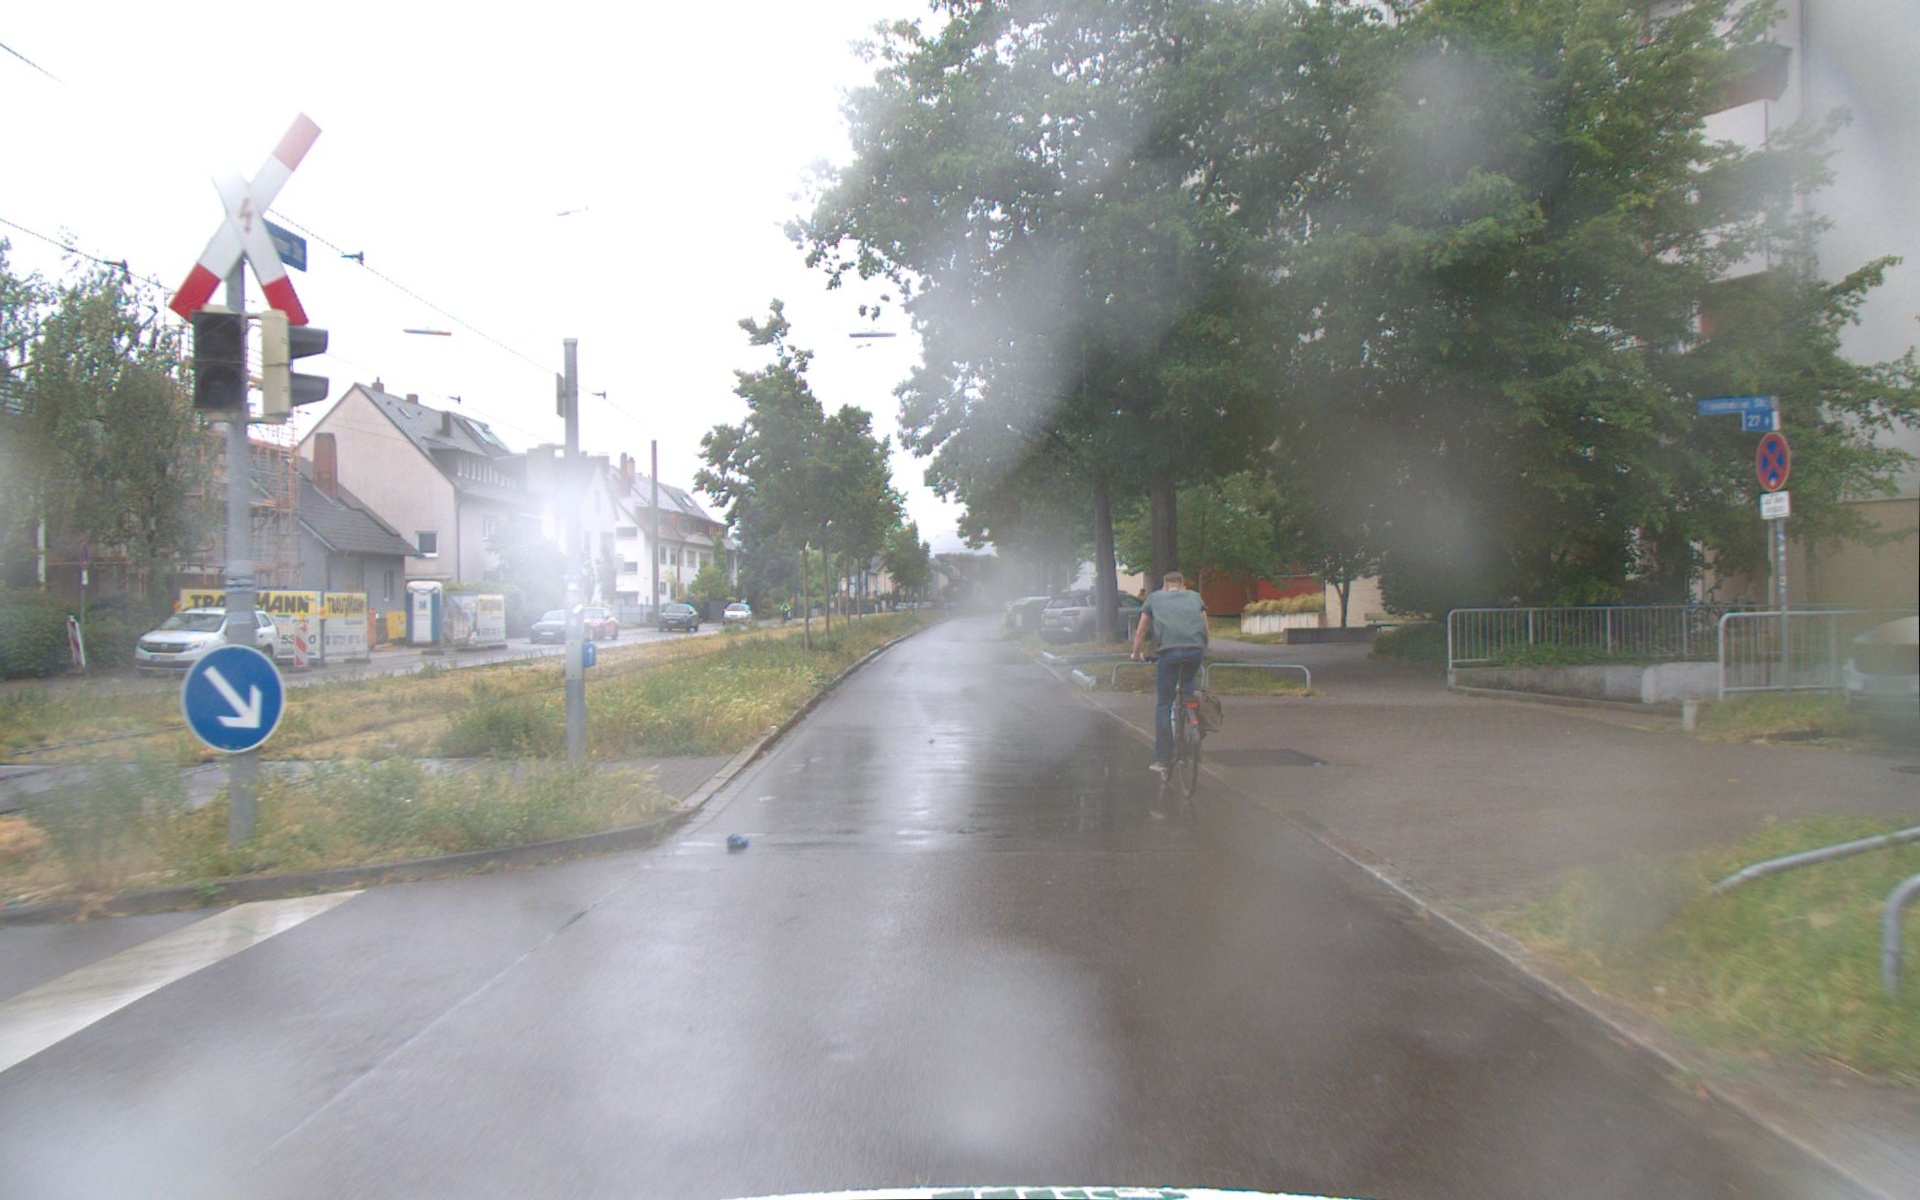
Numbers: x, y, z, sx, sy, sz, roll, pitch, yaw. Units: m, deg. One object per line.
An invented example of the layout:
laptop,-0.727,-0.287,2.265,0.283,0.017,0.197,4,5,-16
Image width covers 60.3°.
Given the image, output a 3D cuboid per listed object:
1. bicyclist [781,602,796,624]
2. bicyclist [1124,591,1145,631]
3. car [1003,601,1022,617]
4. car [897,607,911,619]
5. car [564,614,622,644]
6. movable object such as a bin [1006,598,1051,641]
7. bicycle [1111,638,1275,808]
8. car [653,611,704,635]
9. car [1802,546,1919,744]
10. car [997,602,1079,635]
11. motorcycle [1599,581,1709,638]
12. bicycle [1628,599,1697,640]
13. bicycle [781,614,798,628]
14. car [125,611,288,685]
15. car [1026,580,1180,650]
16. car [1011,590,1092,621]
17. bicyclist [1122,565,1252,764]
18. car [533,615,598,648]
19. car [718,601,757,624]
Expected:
bicyclist,-13.619,1.042,131.321,0.997,1.715,1.092,-1,0,0
bicyclist,7.284,0.463,69.074,0.720,1.622,0.944,-1,0,0
car,5.330,0.888,169.403,1.795,1.614,4.000,-1,0,0
car,-7.919,1.855,235.202,1.805,1.701,4.000,-1,0,0
car,-16.239,1.265,73.333,1.640,1.266,3.855,1,0,1
movable object such as a bin,2.548,0.718,62.049,1.110,1.482,1.392,-7,2,-21
bicycle,1.749,0.890,12.839,0.793,1.116,2.516,-2,0,-2
car,-15.974,1.296,94.057,1.857,1.266,4.689,1,0,3
car,10.767,0.373,15.859,4.725,1.776,1.991,-1,0,-16
car,3.700,0.849,77.903,4.010,1.468,1.560,-1,0,-44
motorcycle,16.592,0.241,39.595,0.876,1.311,2.272,-1,0,-37
bicycle,16.222,0.455,38.194,0.404,0.941,1.446,-1,0,-37
bicycle,-13.613,1.667,131.988,0.997,1.046,3.196,-1,0,0
car,-17.512,1.078,38.667,1.675,1.569,4.422,1,0,1
car,4.193,0.433,48.480,4.096,1.749,1.978,-4,1,-32
car,4.642,0.284,83.462,3.997,1.468,1.565,-1,0,-37
bicyclist,1.744,0.478,12.846,0.793,1.458,1.059,-1,0,-2
car,-16.210,1.277,68.147,1.629,1.266,4.071,1,0,0
car,-15.625,0.862,116.361,1.857,1.495,4.689,1,0,3
